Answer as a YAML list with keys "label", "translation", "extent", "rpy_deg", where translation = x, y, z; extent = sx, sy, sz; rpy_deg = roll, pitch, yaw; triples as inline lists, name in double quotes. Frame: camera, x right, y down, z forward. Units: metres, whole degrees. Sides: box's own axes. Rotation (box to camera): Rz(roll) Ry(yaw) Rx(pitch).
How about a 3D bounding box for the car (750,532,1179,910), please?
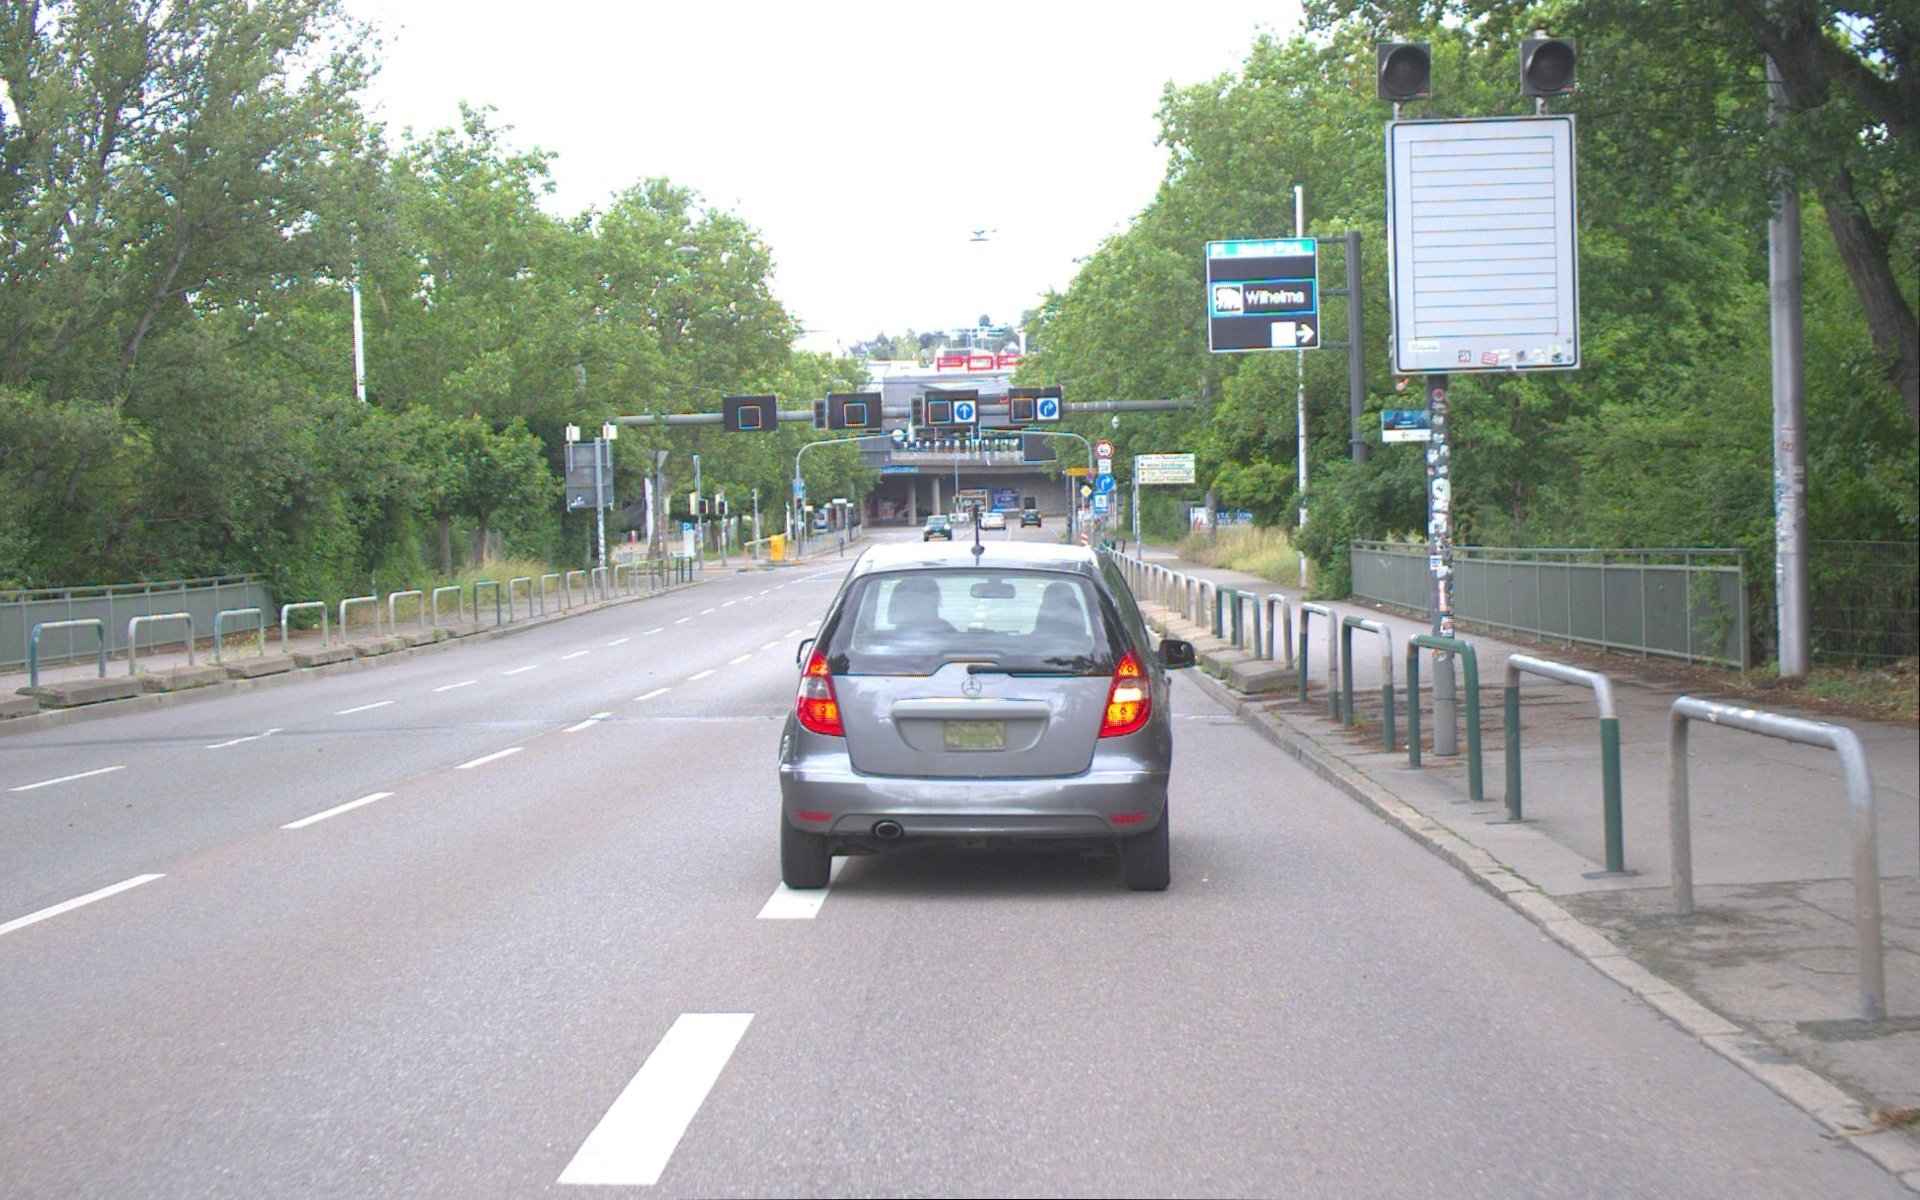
- label: "car"
  translation: [0.145, 0.494, 16.693]
  extent: [1.826, 1.611, 4.034]
  rpy_deg: [0, 1, 4]

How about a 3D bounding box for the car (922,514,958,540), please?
- label: "car"
  translation: [-1.340, -4.892, 230.560]
  extent: [1.994, 1.654, 4.517]
  rpy_deg: [-3, 1, 4]
